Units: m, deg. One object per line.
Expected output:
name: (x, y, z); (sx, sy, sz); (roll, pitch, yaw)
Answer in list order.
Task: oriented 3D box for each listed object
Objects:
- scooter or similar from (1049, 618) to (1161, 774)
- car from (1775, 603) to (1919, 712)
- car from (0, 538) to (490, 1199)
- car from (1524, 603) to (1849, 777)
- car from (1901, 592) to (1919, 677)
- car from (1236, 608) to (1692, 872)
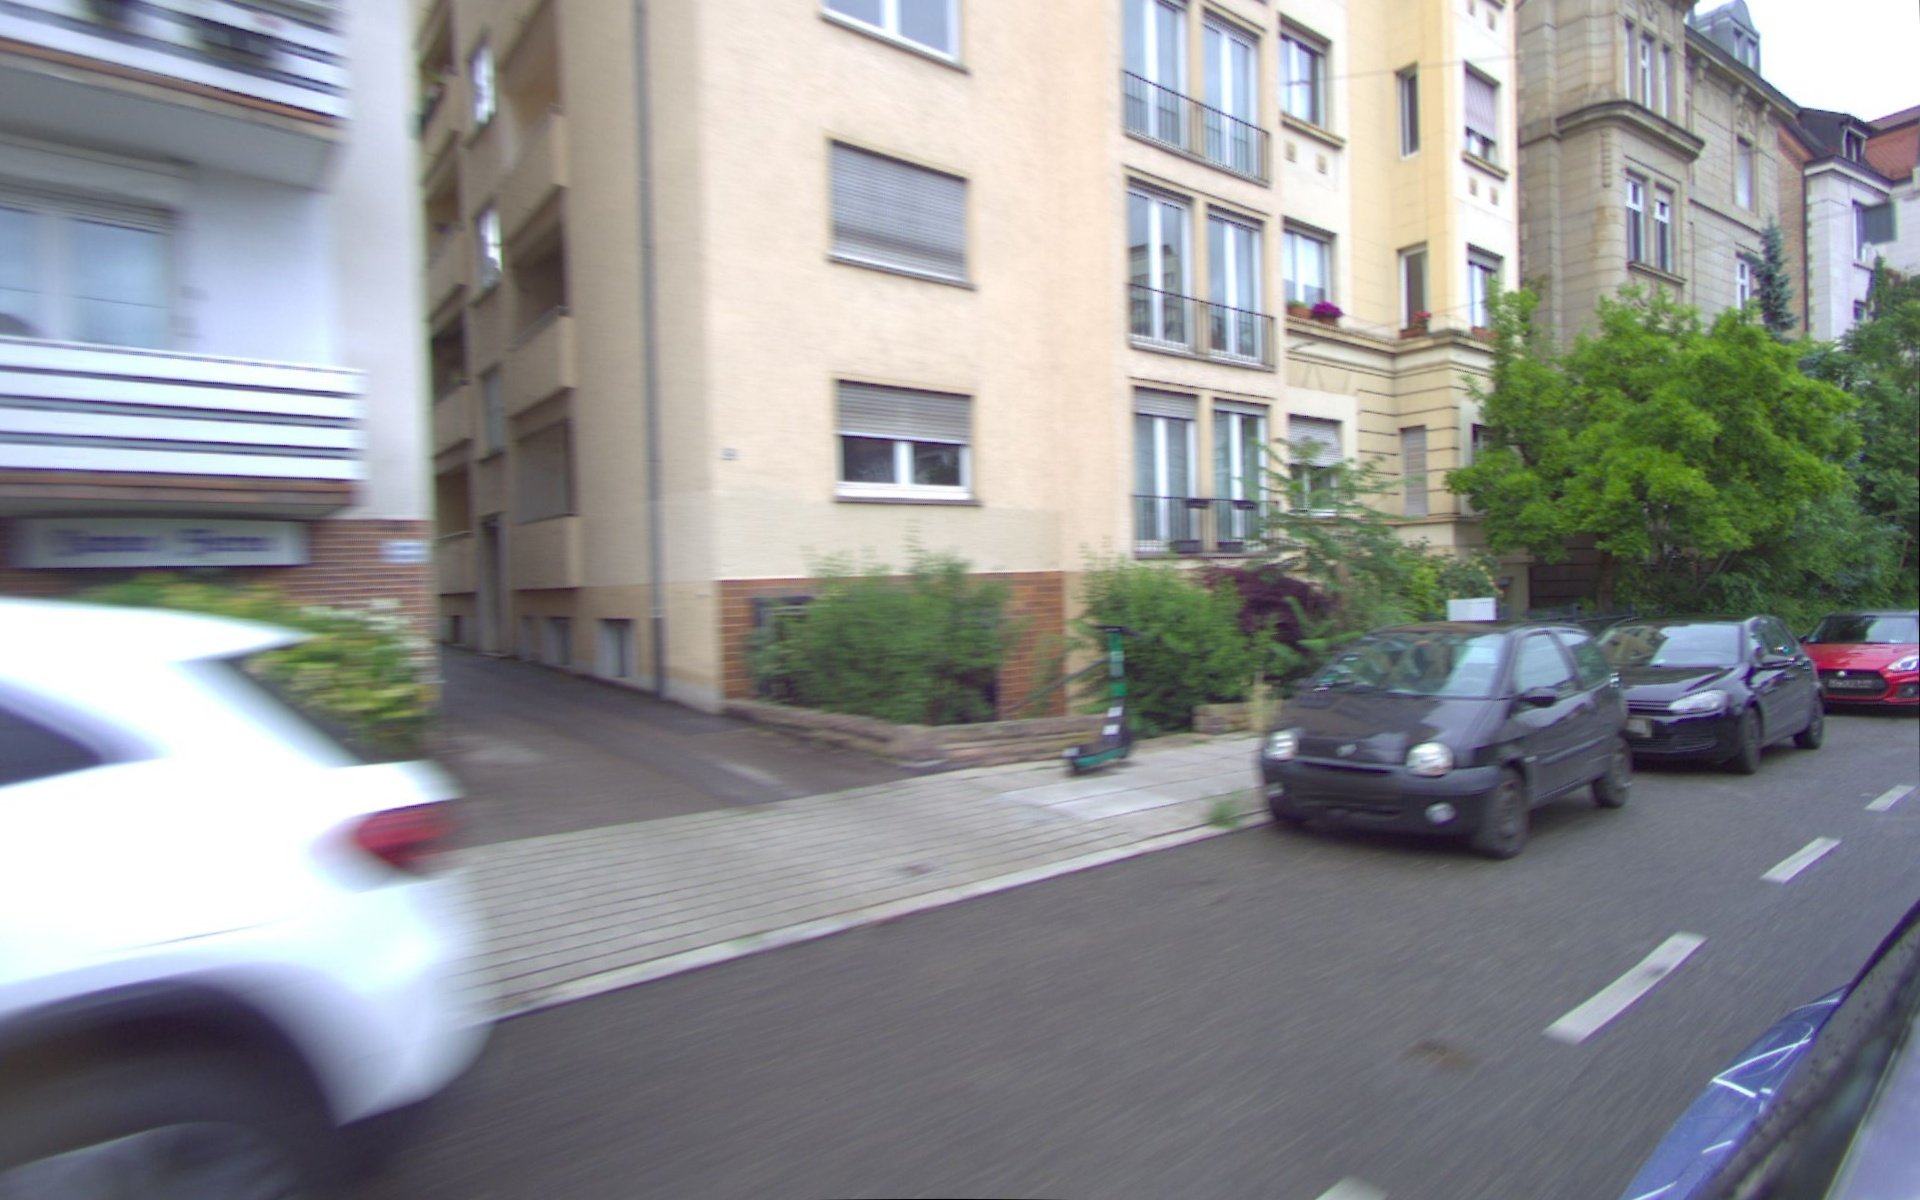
scooter or similar: (1.307, 0.802, 8.961); (0.467, 1.250, 1.184); (2, 0, 35)
car: (13.876, 0.775, 15.112); (3.769, 1.455, 1.727); (0, -1, -36)
car: (-3.159, 0.726, 1.441); (4.176, 1.593, 1.839); (0, -3, -43)
car: (7.543, 0.770, 10.380); (3.990, 1.455, 1.687); (0, -1, -39)
car: (20.561, 0.668, 20.366); (4.210, 1.624, 1.770); (0, 1, -39)
car: (3.973, 0.803, 7.629); (4.228, 1.455, 1.559); (0, -1, -41)
